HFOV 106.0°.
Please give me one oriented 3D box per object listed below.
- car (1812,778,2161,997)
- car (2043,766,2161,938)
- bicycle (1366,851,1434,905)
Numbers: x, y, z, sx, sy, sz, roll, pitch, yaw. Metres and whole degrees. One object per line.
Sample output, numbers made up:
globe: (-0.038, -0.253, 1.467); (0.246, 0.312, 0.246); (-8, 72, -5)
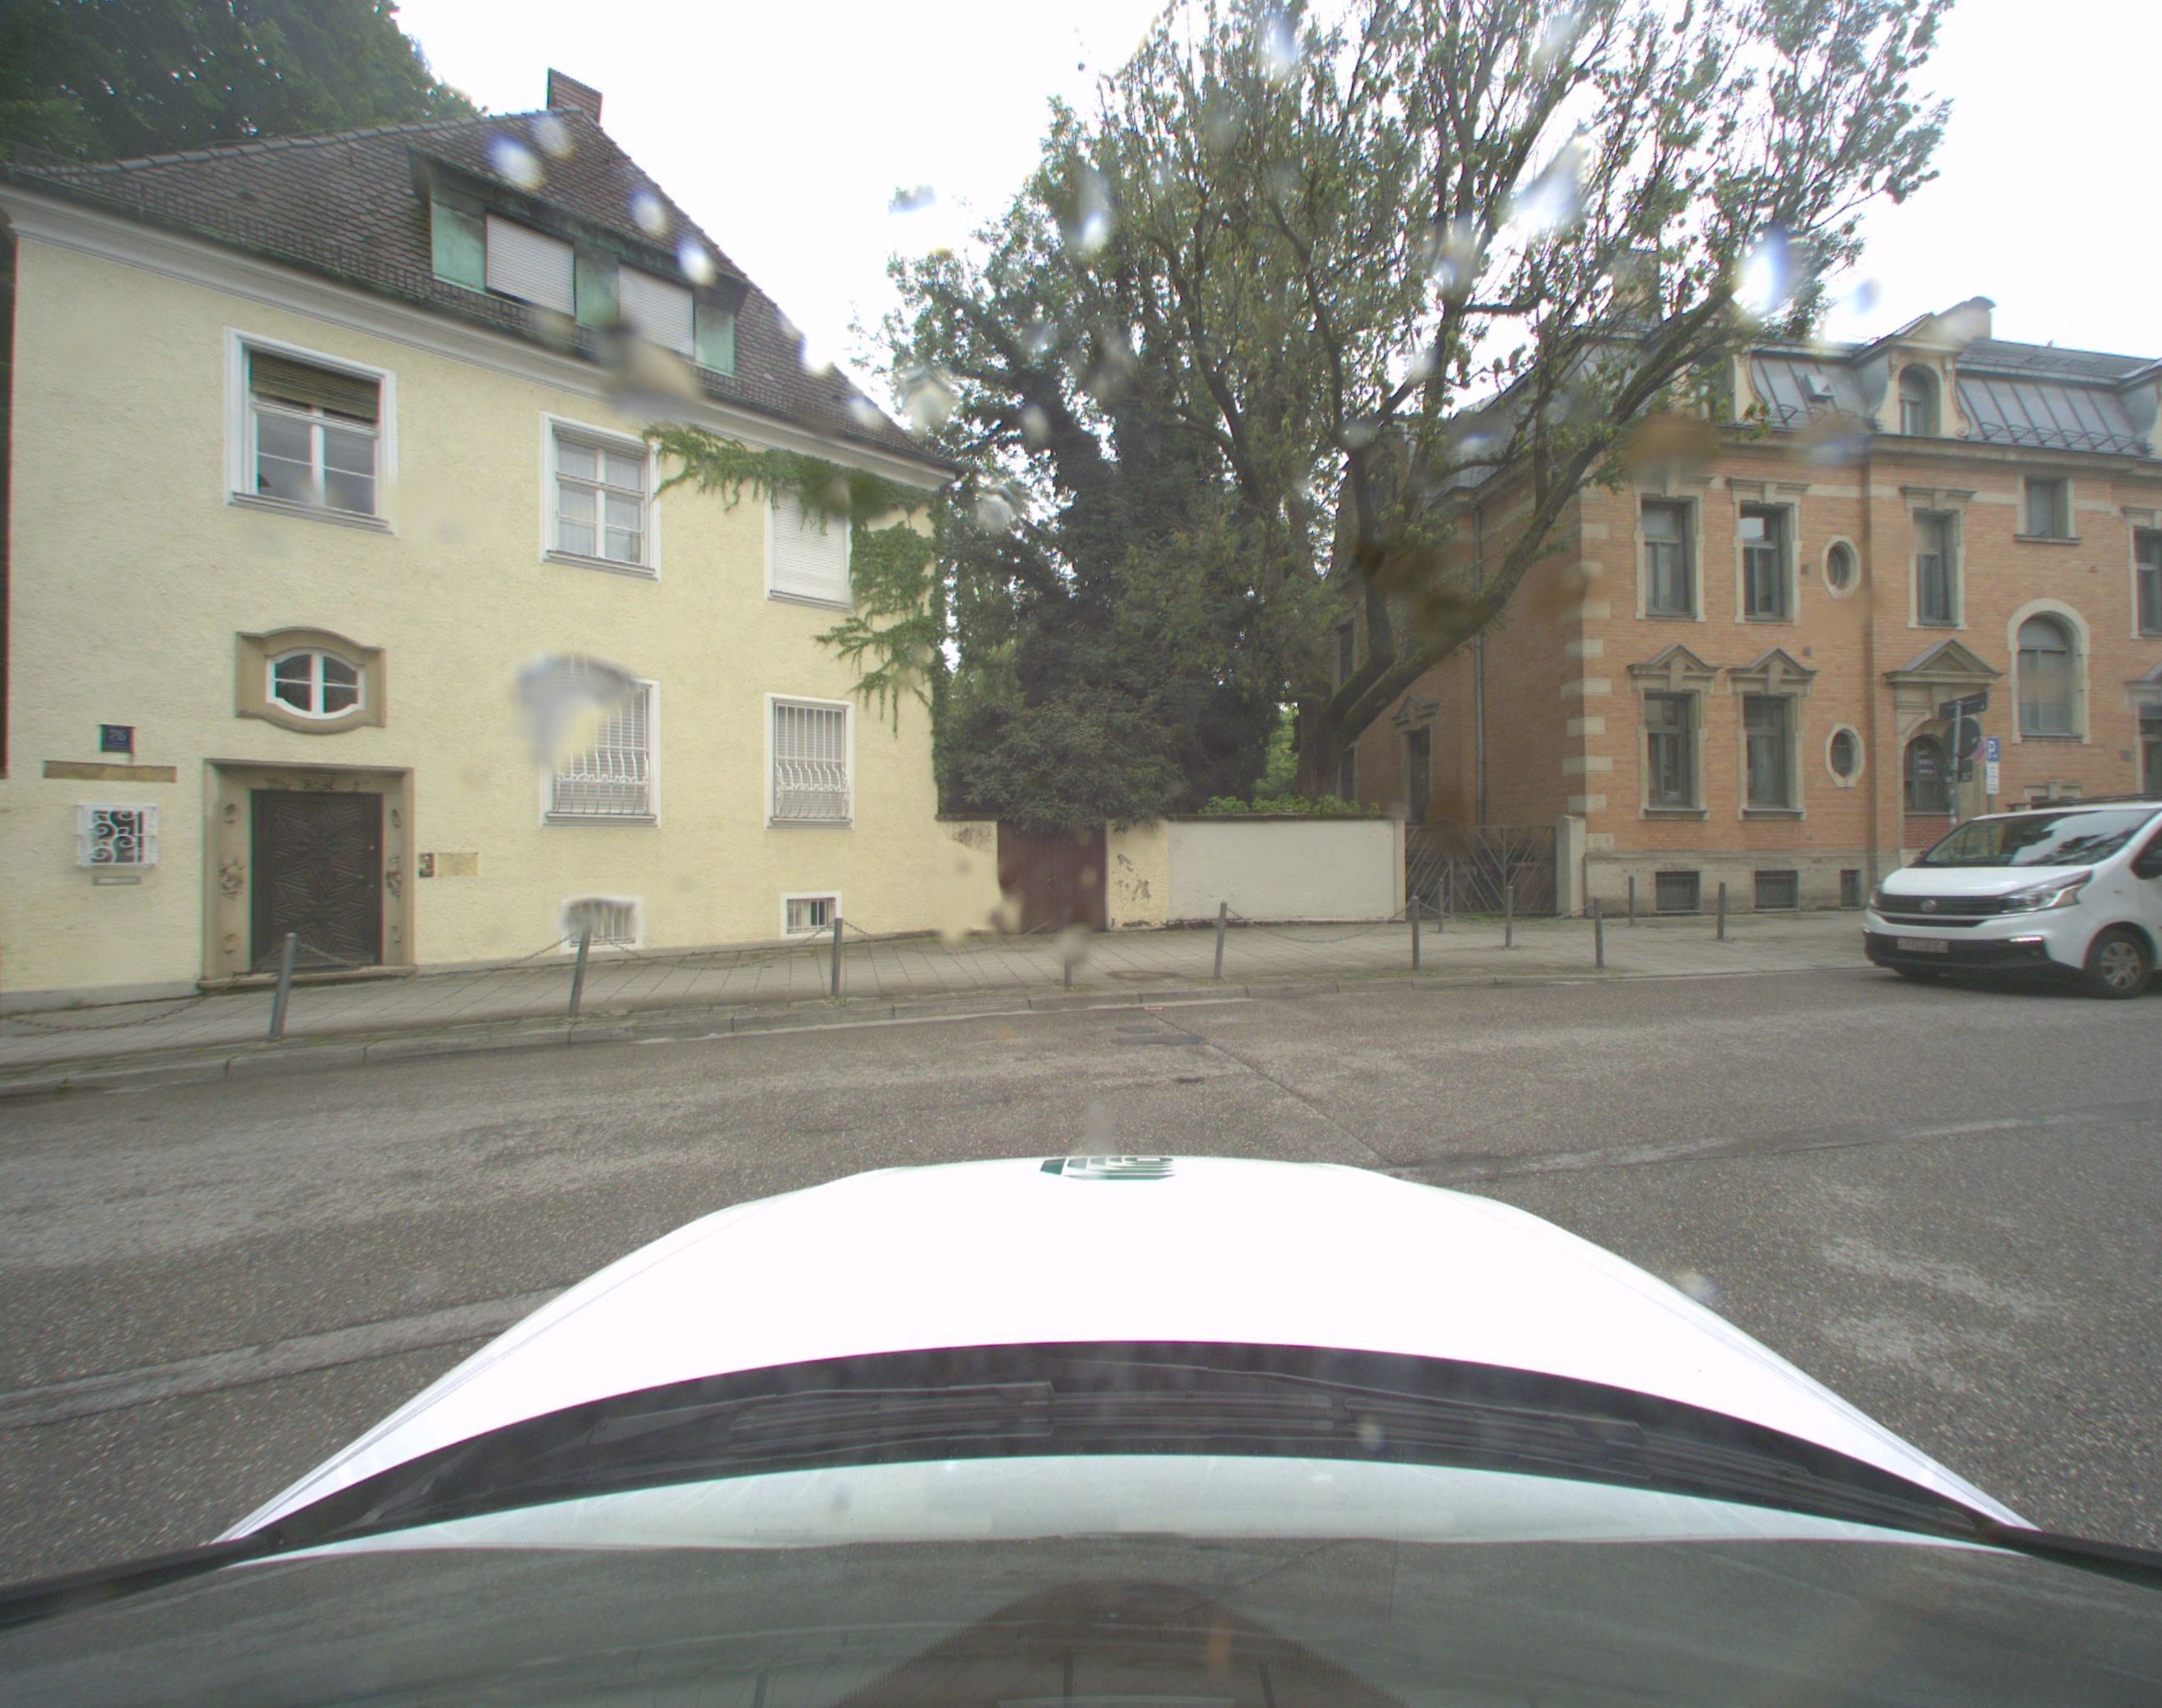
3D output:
car: (11.308, 0.318, 8.926); (4.934, 2.042, 2.042); (-1, -3, -5)
car: (18.177, -0.025, 12.368); (5.451, 2.468, 1.992); (0, -2, -9)
bicycle: (7.504, 0.553, 19.282); (0.534, 1.219, 2.076); (0, -1, -8)
